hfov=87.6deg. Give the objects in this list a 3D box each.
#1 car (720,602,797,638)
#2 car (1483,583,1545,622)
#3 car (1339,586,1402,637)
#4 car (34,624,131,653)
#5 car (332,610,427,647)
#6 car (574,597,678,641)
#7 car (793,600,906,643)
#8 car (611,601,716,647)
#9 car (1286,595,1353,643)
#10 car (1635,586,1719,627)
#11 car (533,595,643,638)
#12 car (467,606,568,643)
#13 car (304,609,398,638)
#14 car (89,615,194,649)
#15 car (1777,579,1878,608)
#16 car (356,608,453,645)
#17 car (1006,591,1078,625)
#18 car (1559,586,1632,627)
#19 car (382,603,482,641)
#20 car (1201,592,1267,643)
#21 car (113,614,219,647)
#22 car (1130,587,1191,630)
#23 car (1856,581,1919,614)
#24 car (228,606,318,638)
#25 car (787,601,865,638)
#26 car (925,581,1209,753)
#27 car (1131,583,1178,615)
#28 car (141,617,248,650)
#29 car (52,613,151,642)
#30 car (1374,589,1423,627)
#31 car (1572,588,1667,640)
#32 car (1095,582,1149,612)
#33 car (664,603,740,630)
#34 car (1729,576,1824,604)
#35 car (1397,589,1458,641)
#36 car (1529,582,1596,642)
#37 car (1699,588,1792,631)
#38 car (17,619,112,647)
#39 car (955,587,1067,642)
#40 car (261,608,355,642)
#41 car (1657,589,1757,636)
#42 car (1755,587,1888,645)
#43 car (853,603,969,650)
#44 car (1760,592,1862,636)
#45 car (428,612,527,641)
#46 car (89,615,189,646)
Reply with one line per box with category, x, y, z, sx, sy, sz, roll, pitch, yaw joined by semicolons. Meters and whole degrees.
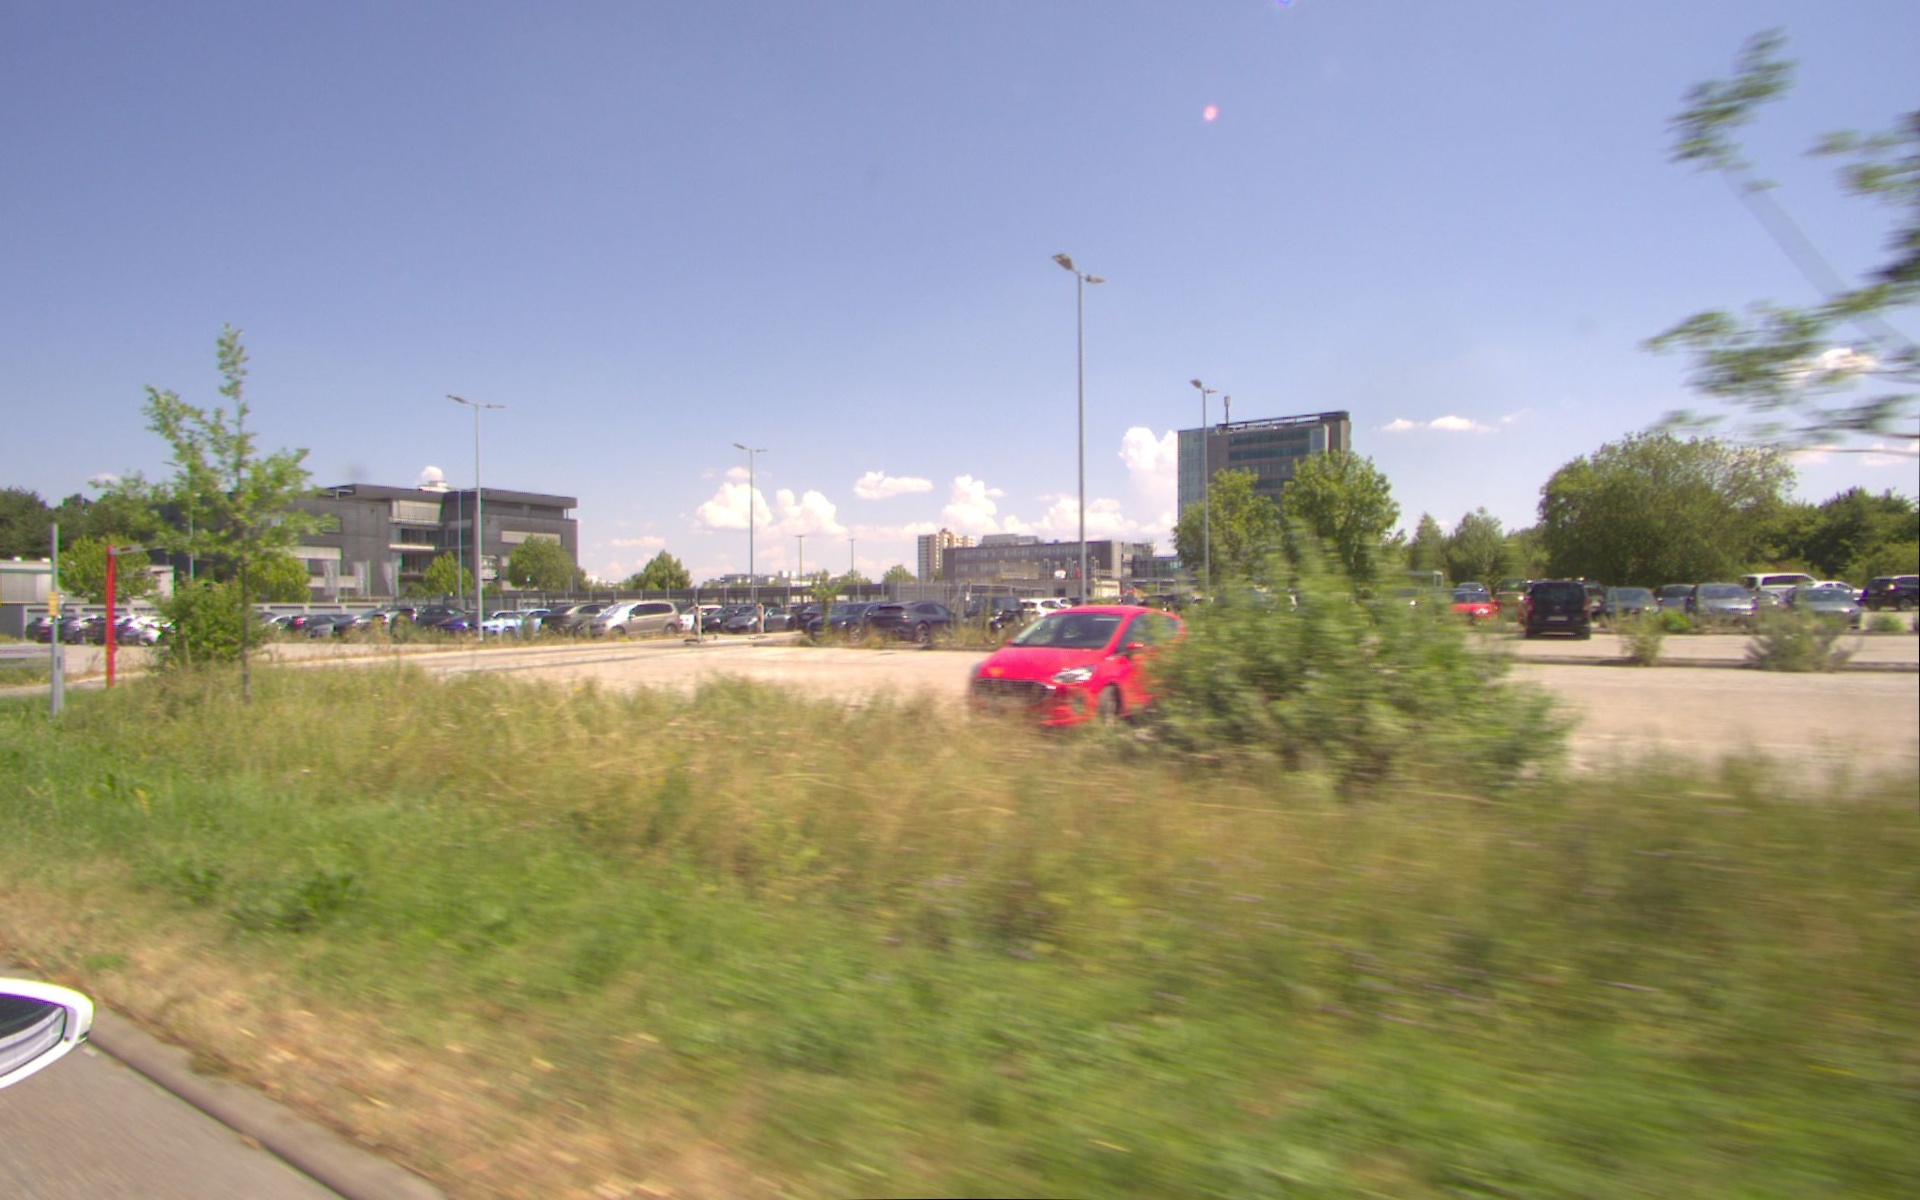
car;-10.310;1.009;51.519;1.741;1.618;3.981;3;3;29
car;26.319;0.061;47.682;1.965;1.663;3.989;2;2;21
car;17.162;0.425;41.774;1.968;1.908;3.982;3;3;28
car;-52.012;2.253;59.410;1.741;1.420;3.981;3;3;29
car;-30.154;1.448;52.154;1.741;1.618;3.981;3;3;29
car;-13.751;0.740;41.455;1.741;1.618;3.981;3;3;29
car;-3.840;0.728;35.465;1.900;1.414;3.978;-1;0;32
car;-11.940;0.918;40.544;1.741;1.618;3.981;3;3;29
car;13.053;0.642;36.251;1.706;1.484;3.791;3;3;28
car;31.980;0.248;44.795;1.965;1.663;3.989;2;2;21
car;-15.977;0.678;43.196;1.741;1.618;4.359;3;3;29
car;-20.128;1.076;45.713;1.741;1.412;3.981;3;3;29
car;-32.838;1.252;54.092;1.741;1.289;3.981;3;3;29
car;-43.773;1.679;53.649;1.741;1.511;3.981;3;3;29
car;47.460;-0.352;54.823;3.922;1.550;1.875;-1;1;0
car;-28.053;1.315;50.703;1.741;1.618;3.981;3;3;29
car;3.574;0.330;43.004;1.670;1.359;3.983;-1;0;28
car;28.996;0.235;45.818;1.965;1.663;3.989;2;2;21
car;-25.747;1.033;48.942;1.832;1.618;3.981;3;3;29
car;10.267;0.604;37.323;1.965;1.663;3.989;2;2;21
car;-41.621;1.570;52.581;1.741;1.420;3.981;3;3;29
car;8.809;0.344;43.759;1.965;1.663;3.989;2;2;21
car;46.728;-0.150;49.100;3.922;1.550;1.875;-1;1;0
car;-40.119;1.235;58.557;1.741;1.618;3.981;3;3;29
car;-6.546;0.922;49.330;1.741;1.618;3.981;3;3;29
car;1.485;0.681;12.324;1.900;1.746;3.978;-1;0;32
car;11.081;-0.083;56.926;1.965;1.663;3.989;2;2;21
car;-39.059;1.679;51.182;1.742;1.420;3.980;3;3;30
car;-49.672;1.572;58.011;1.741;1.420;3.981;3;3;29
car;21.898;0.365;50.155;1.965;1.663;3.989;2;2;21
car;24.043;0.454;36.656;1.965;1.663;3.989;2;2;21
car;9.667;-0.200;59.495;1.768;1.663;3.978;3;3;31
car;-13.778;0.855;53.709;1.704;1.209;3.982;3;3;28
car;46.743;-0.571;57.381;3.922;1.550;1.875;-1;1;0
car;19.118;0.543;40.894;1.968;1.908;3.982;3;3;28
car;19.251;0.318;32.112;1.731;1.782;3.980;1;2;30
car;33.874;0.355;43.312;1.965;1.663;3.989;2;2;21
car;-54.858;1.979;61.430;1.741;1.420;3.981;3;3;29
car;1.717;0.446;32.504;1.900;1.663;3.978;-1;0;32
car;-35.710;1.328;54.916;1.741;1.618;3.981;3;3;29
car;26.229;0.382;35.311;1.691;1.440;3.989;2;2;21
car;28.147;0.470;32.885;1.965;1.663;3.989;2;2;21
car;-1.551;0.843;33.140;1.900;1.414;3.978;-1;0;32
car;35.990;0.546;42.479;1.965;1.663;3.989;2;2;21
car;-22.930;1.248;47.722;1.741;1.124;3.981;3;3;29
car;-45.926;1.670;56.106;1.741;1.482;3.981;3;3;29
